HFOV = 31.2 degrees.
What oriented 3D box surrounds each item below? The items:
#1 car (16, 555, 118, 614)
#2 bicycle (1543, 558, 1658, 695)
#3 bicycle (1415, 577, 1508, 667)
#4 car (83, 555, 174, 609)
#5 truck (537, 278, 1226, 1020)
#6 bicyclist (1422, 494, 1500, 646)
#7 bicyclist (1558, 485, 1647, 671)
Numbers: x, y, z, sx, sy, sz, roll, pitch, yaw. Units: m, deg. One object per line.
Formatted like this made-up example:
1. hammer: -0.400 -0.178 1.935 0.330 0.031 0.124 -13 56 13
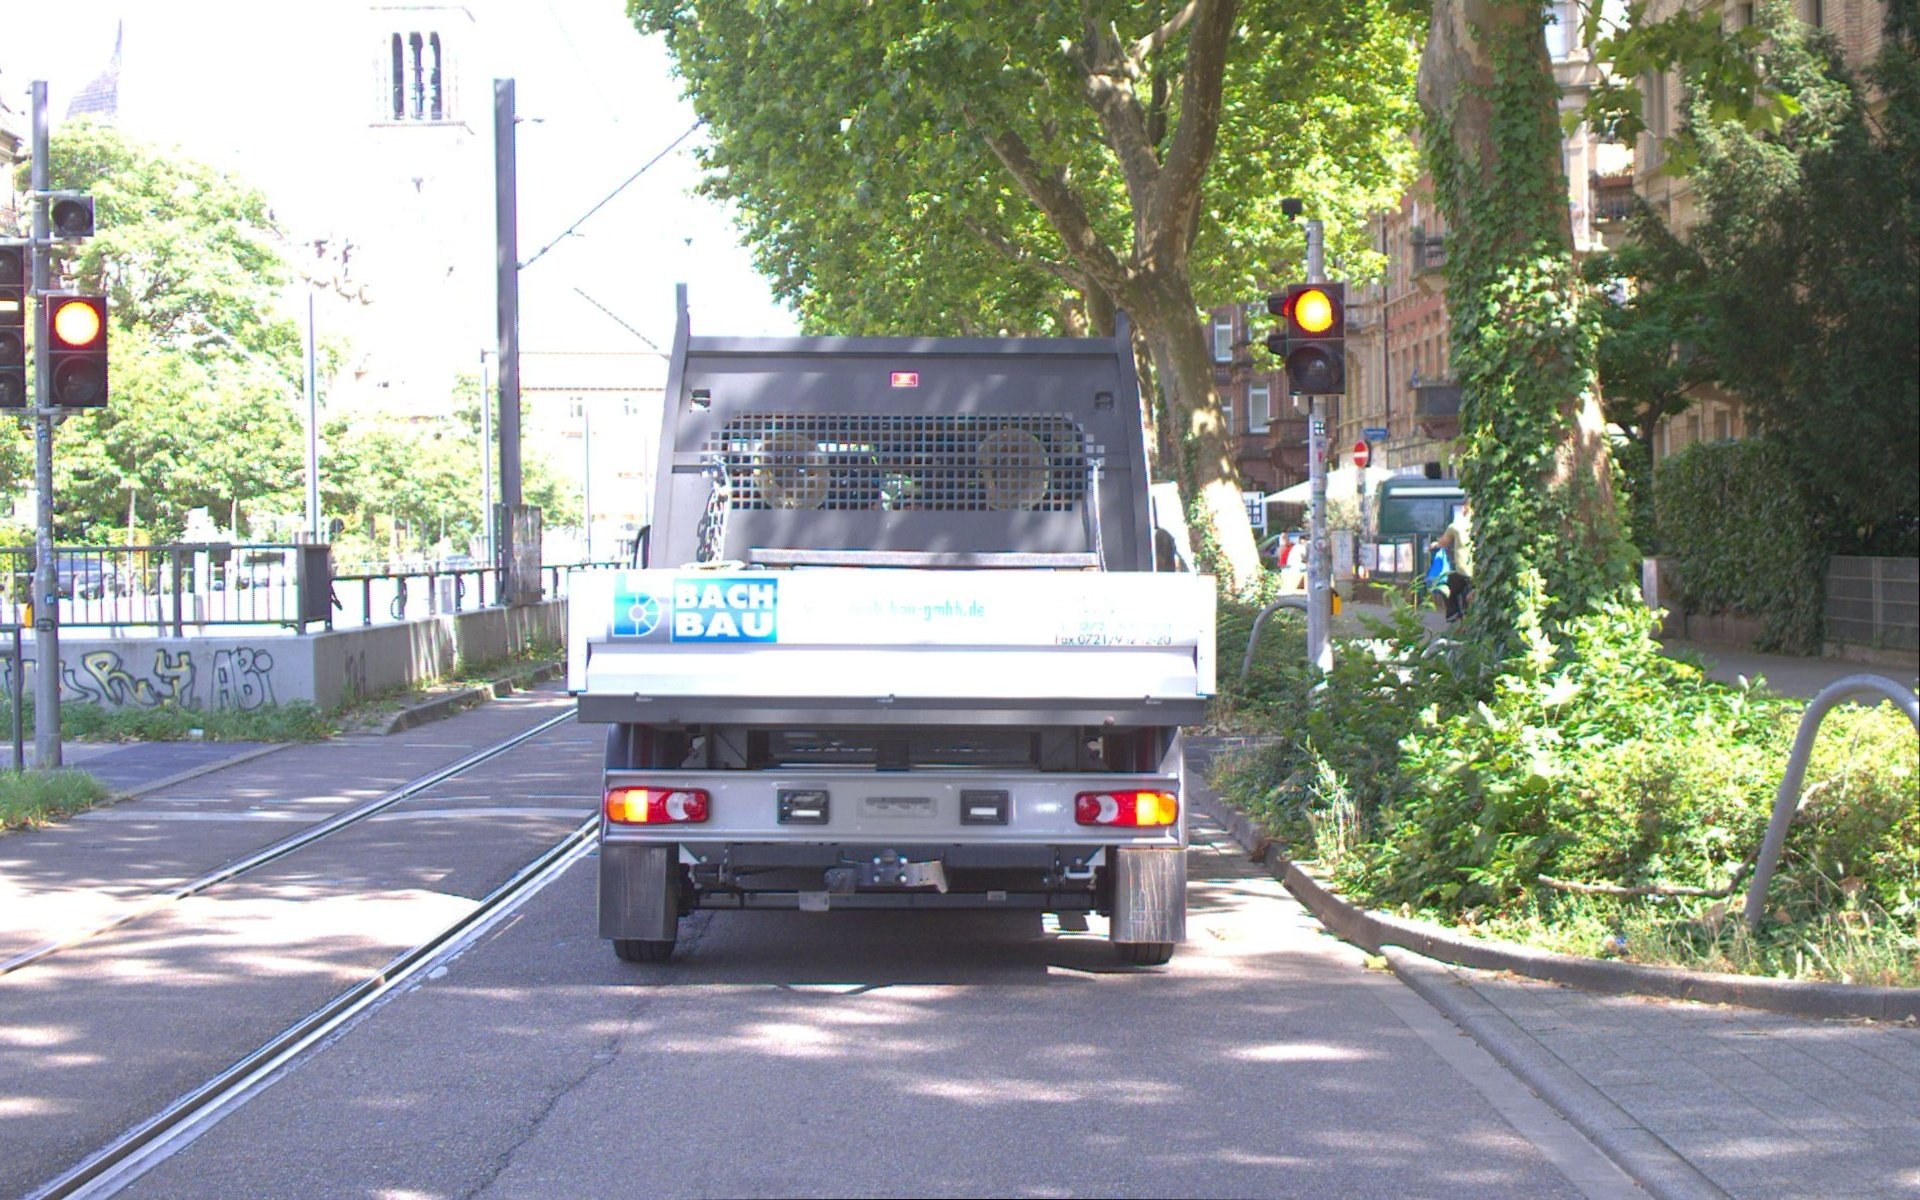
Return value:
1. car: -23.613 -0.422 91.027 1.770 1.493 4.000 -1 1 -2
2. bicycle: 5.472 0.207 29.476 0.565 1.108 2.310 -1 1 1
3. bicycle: 5.232 0.221 35.959 0.675 0.878 2.163 -1 1 1
4. car: -23.885 -0.543 98.863 1.770 1.493 4.000 -1 1 -2
5. truck: -0.242 0.119 13.094 2.138 2.311 4.402 1 1 0
6. bicyclist: 5.216 -0.315 35.827 0.680 1.558 0.777 -1 1 0
7. bicyclist: 5.476 -0.191 29.335 0.638 1.568 0.579 -1 1 1
